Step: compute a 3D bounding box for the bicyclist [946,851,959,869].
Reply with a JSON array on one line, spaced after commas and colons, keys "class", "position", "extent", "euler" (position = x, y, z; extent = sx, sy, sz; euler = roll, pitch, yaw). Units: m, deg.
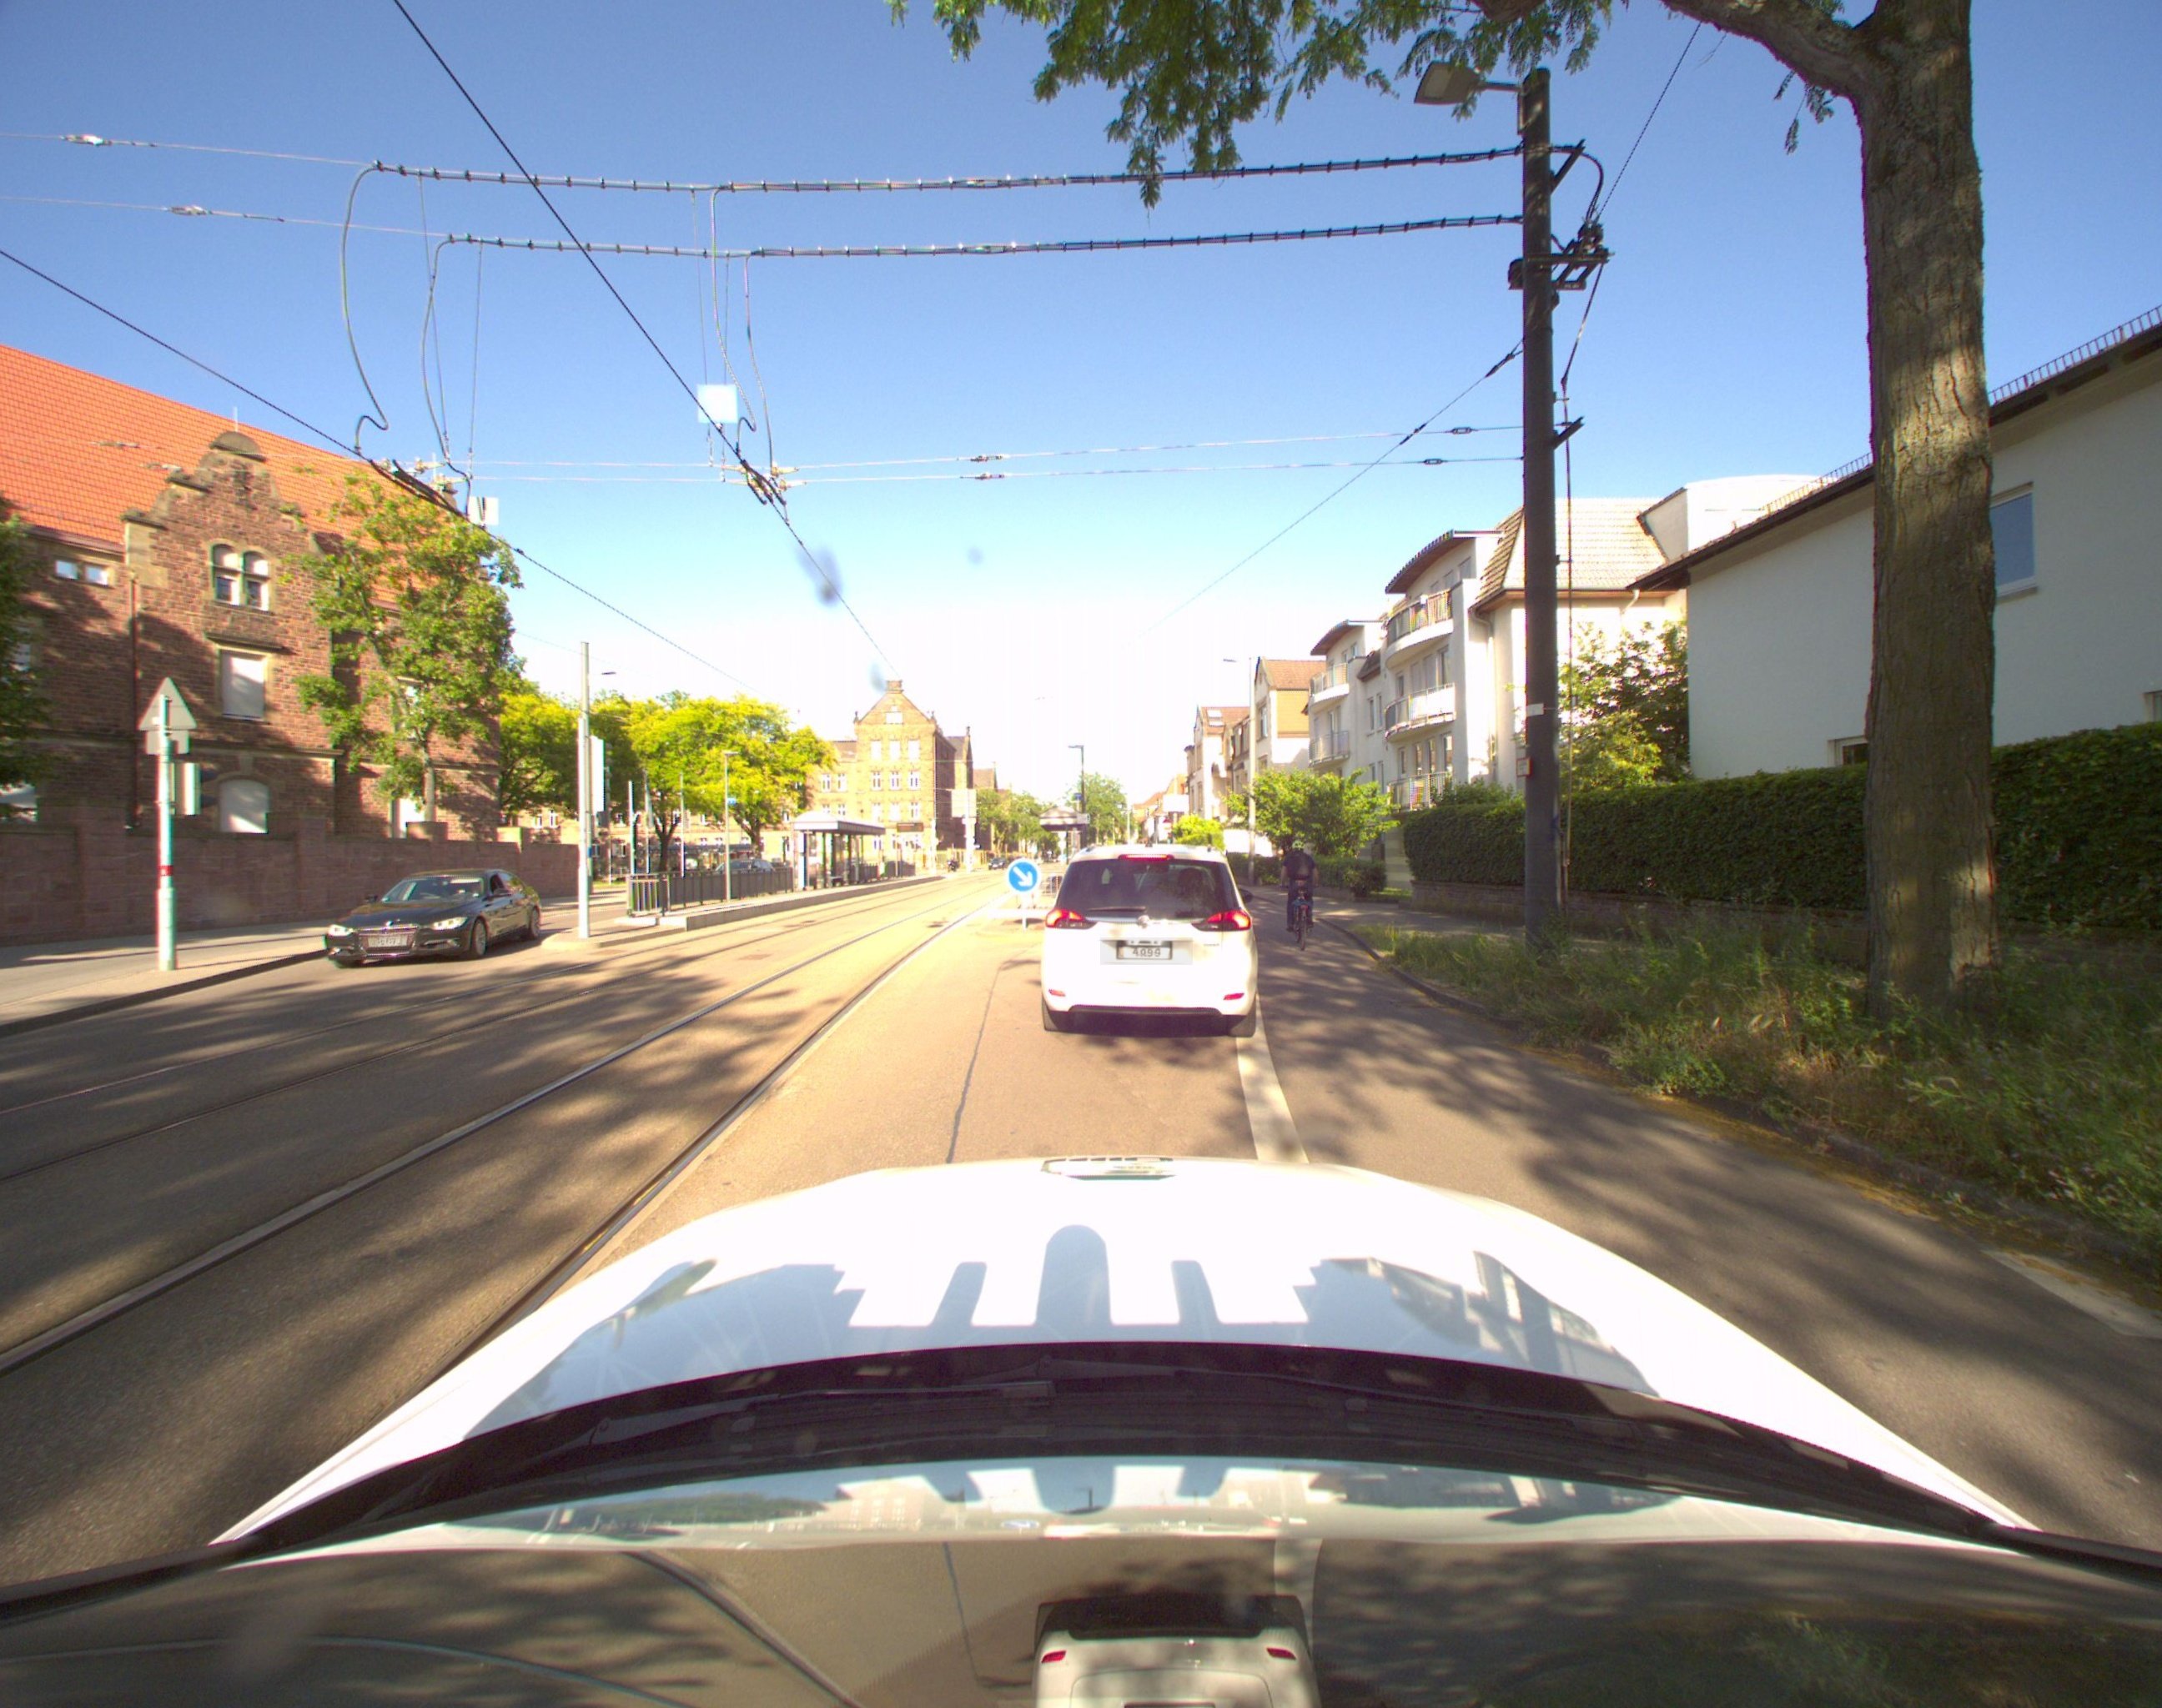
[{"class": "bicyclist", "position": [-11.917, 0.550, 75.650], "extent": [0.720, 1.688, 1.174], "euler": [-1, 0, 14]}]

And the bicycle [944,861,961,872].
[{"class": "bicycle", "position": [-11.911, 1.141, 75.607], "extent": [0.720, 0.965, 2.068], "euler": [-1, 0, 14]}]

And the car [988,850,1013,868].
[{"class": "car", "position": [-9.117, 0.575, 92.435], "extent": [1.982, 2.014, 4.009], "euler": [-1, -1, 8]}]

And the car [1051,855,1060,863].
[{"class": "car", "position": [-6.671, 1.240, 212.694], "extent": [1.989, 2.014, 3.994], "euler": [0, -1, -4]}]

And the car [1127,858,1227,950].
[{"class": "car", "position": [1.771, 0.802, 14.861], "extent": [1.560, 1.401, 3.792], "euler": [1, 0, 7]}]

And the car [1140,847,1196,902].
[{"class": "car", "position": [2.721, 0.602, 26.125], "extent": [1.563, 1.614, 3.787], "euler": [1, 0, 3]}]

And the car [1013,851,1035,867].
[{"class": "car", "position": [-7.502, 0.651, 107.257], "extent": [1.982, 2.014, 4.009], "euler": [-1, -1, 8]}]

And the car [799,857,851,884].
[{"class": "car", "position": [-14.840, 0.960, 47.429], "extent": [1.823, 1.446, 4.322], "euler": [-1, -1, -3]}]

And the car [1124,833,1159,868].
[{"class": "car", "position": [2.986, -0.146, 40.685], "extent": [1.590, 1.635, 3.903], "euler": [1, 0, 2]}]

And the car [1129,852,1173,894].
[{"class": "car", "position": [2.868, 0.737, 34.040], "extent": [1.590, 1.635, 3.903], "euler": [1, 0, 2]}]

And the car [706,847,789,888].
[{"class": "car", "position": [-14.205, 0.569, 34.940], "extent": [1.821, 1.617, 4.325], "euler": [-1, -1, -1]}]

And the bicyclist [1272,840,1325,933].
[{"class": "bicyclist", "position": [3.634, 0.525, 13.684], "extent": [0.641, 1.488, 1.116], "euler": [0, -1, 3]}]

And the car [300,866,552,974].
[{"class": "car", "position": [-10.792, 0.960, 13.880], "extent": [1.803, 1.382, 4.467], "euler": [-3, 1, -18]}]

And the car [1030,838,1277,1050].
[{"class": "car", "position": [0.794, 0.665, 8.181], "extent": [1.868, 1.585, 4.008], "euler": [0, 0, 7]}]

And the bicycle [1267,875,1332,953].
[{"class": "bicycle", "position": [3.640, 0.963, 13.715], "extent": [0.640, 1.143, 1.903], "euler": [-1, 0, 2]}]
